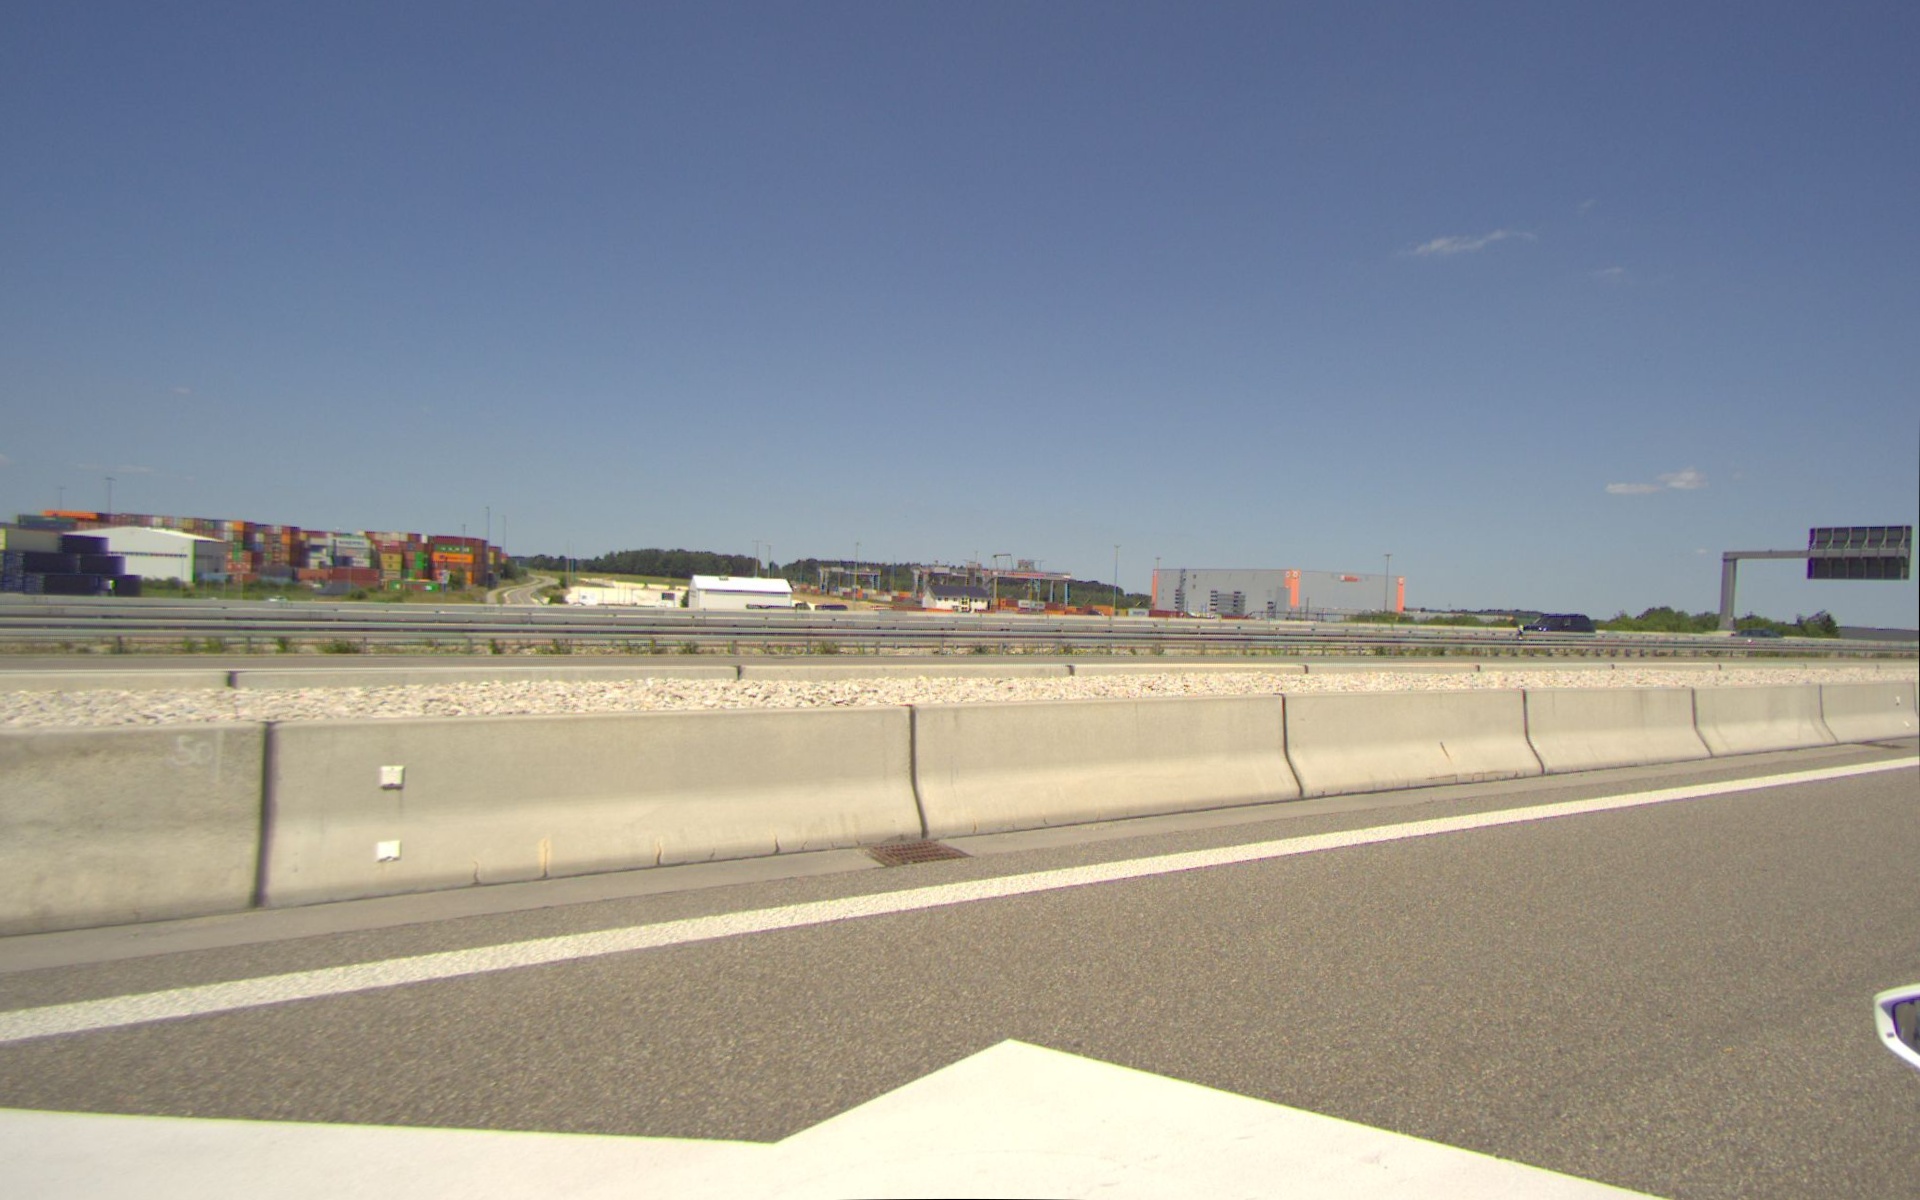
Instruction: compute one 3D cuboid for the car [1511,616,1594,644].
[{"bbox_3d":[32.552,1.649,55.189,4.308,1.398,1.985,2,0,-28],"label":"car"}]
